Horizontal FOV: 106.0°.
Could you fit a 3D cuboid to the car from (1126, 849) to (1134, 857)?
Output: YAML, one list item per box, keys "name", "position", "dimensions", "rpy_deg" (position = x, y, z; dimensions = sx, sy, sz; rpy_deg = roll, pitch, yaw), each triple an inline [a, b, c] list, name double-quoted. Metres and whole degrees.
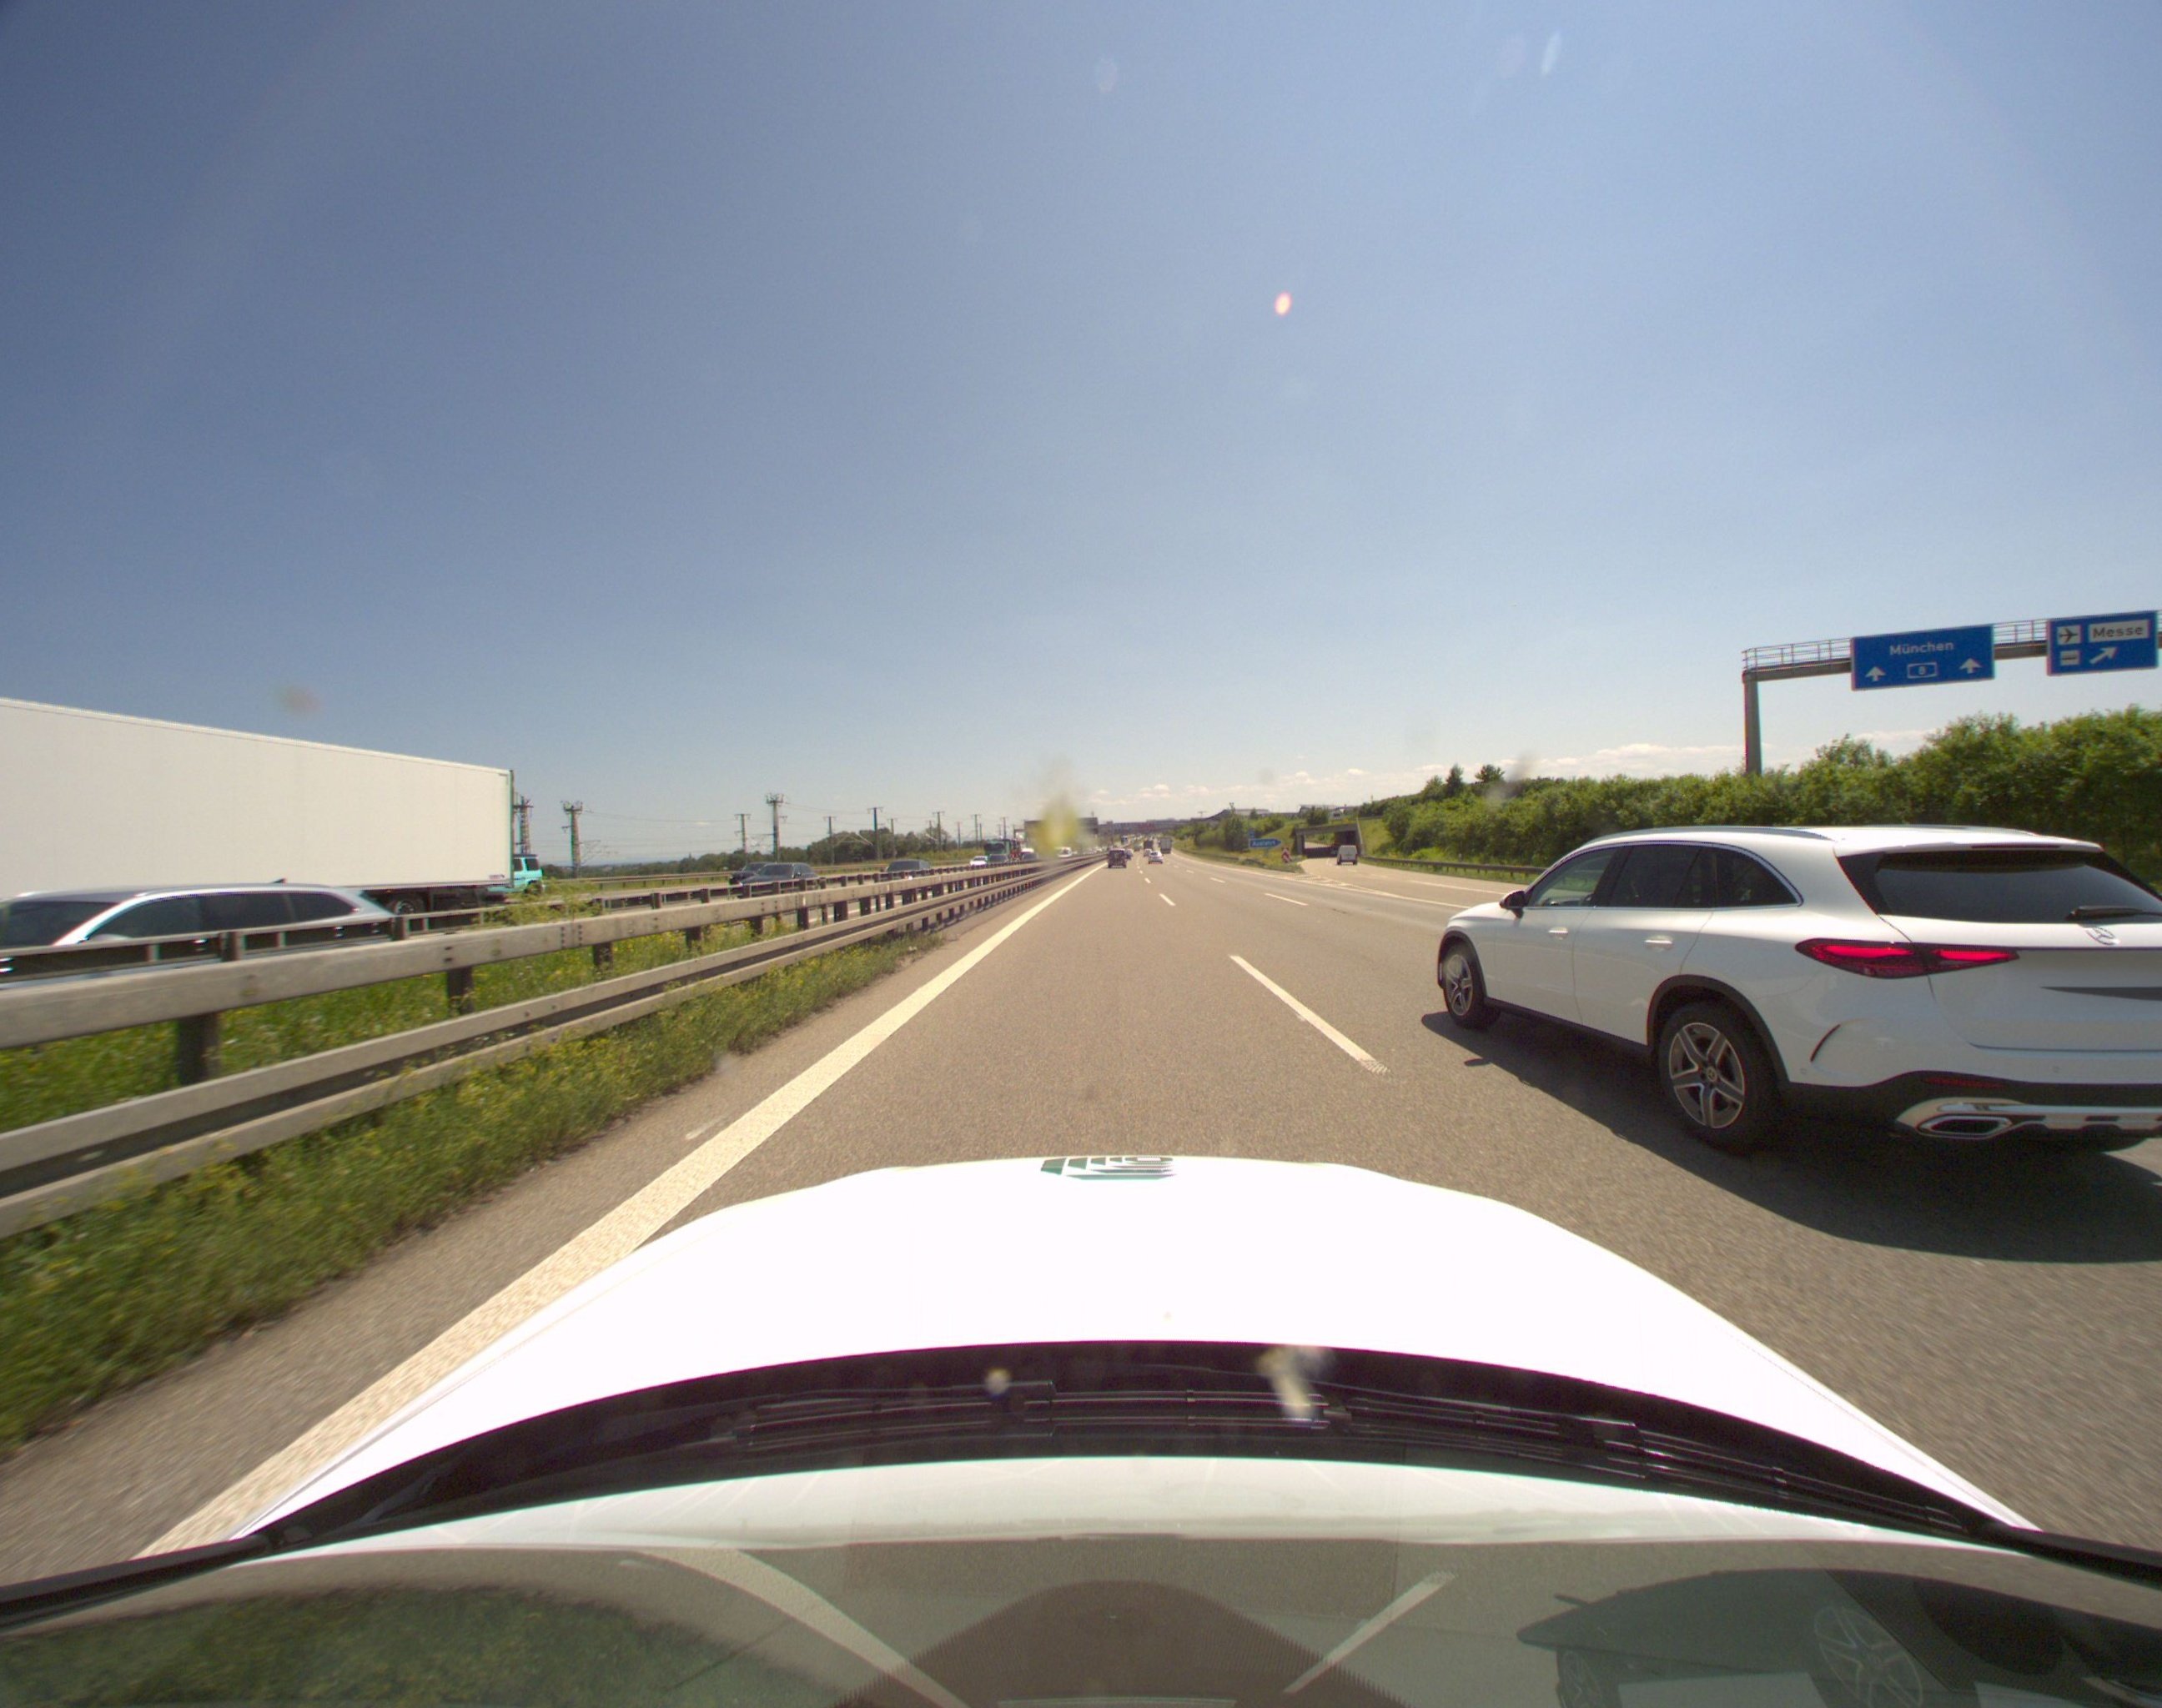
- name: "car"
  position: [9.942, -0.108, 165.578]
  dimensions: [1.568, 1.552, 3.969]
  rpy_deg: [-1, -1, 5]

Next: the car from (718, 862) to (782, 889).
- name: "car"
  position: [-18.865, 1.196, 46.618]
  dimensions: [1.689, 1.425, 4.457]
  rpy_deg: [-1, 0, 2]

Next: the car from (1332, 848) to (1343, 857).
- name: "car"
  position: [49.786, -0.237, 157.938]
  dimensions: [1.978, 1.750, 4.017]
  rpy_deg: [-1, -1, 16]

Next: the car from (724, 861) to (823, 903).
- name: "car"
  position: [-12.082, 1.051, 32.362]
  dimensions: [1.834, 1.460, 4.999]
  rpy_deg: [-1, 0, 2]

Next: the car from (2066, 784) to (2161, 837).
- name: "car"
  position: [35.319, -1.427, 26.645]
  dimensions: [1.688, 1.575, 4.141]
  rpy_deg: [-1, -1, 11]

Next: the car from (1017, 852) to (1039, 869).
- name: "car"
  position: [-5.513, 0.650, 85.325]
  dimensions: [1.749, 1.741, 4.724]
  rpy_deg: [-1, 0, 2]

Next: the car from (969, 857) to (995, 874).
- name: "car"
  position: [-9.668, 1.100, 79.739]
  dimensions: [1.749, 1.481, 4.636]
  rpy_deg: [-1, 0, 2]

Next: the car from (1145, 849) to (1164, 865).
- name: "car"
  position: [8.855, 0.370, 98.332]
  dimensions: [1.919, 1.919, 4.519]
  rpy_deg: [-1, -1, 1]

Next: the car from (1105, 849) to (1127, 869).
- name: "car"
  position: [3.417, 0.508, 78.722]
  dimensions: [1.918, 1.919, 4.953]
  rpy_deg: [-1, -1, 4]

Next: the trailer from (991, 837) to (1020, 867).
- name: "trailer"
  position: [-11.244, -0.264, 122.272]
  dimensions: [2.748, 4.245, 11.206]
  rpy_deg: [-1, -1, 2]

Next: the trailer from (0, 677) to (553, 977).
- name: "trailer"
  position: [-16.397, -0.295, 16.690]
  dimensions: [3.209, 4.193, 11.418]
  rpy_deg: [-1, -1, 3]

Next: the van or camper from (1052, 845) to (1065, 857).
- name: "van or camper"
  position: [-5.335, -0.695, 193.921]
  dimensions: [2.506, 2.665, 8.071]
  rpy_deg: [-1, 0, 3]

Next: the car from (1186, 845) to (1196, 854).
- name: "car"
  position: [25.445, -0.943, 188.479]
  dimensions: [1.919, 1.919, 4.519]
  rpy_deg: [-1, -1, 1]

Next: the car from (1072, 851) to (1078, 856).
- name: "car"
  position: [-1.858, -0.161, 258.983]
  dimensions: [1.758, 1.347, 4.004]
  rpy_deg: [-1, 0, 3]

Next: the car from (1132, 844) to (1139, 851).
- name: "car"
  position: [16.990, -1.976, 253.754]
  dimensions: [2.178, 2.002, 4.003]
  rpy_deg: [-1, 3, 2]

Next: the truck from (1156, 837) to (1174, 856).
- name: "truck"
  position: [20.878, -1.906, 202.659]
  dimensions: [4.022, 4.261, 11.769]
  rpy_deg: [-1, 2, 3]

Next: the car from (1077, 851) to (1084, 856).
- name: "car"
  position: [-0.108, -0.073, 207.021]
  dimensions: [1.686, 1.347, 4.004]
  rpy_deg: [-1, 0, 3]

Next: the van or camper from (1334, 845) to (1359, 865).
- name: "van or camper"
  position: [27.907, 0.093, 85.619]
  dimensions: [2.141, 2.014, 4.320]
  rpy_deg: [-1, -1, 13]

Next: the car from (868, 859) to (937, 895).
- name: "car"
  position: [-7.951, 0.983, 36.806]
  dimensions: [1.834, 1.460, 4.999]
  rpy_deg: [-1, 0, 2]

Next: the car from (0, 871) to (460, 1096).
- name: "car"
  position: [-8.921, 1.029, 7.813]
  dimensions: [1.725, 1.588, 5.356]
  rpy_deg: [-1, 0, 1]

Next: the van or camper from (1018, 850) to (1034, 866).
- name: "van or camper"
  position: [-7.631, 0.527, 113.043]
  dimensions: [1.749, 2.221, 4.944]
  rpy_deg: [-1, 0, 2]

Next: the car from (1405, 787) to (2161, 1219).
- name: "car"
  position: [4.091, 0.605, 5.631]
  dimensions: [1.890, 1.647, 5.001]
  rpy_deg: [-1, -1, 3]

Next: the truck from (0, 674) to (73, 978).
- name: "truck"
  position: [-16.806, -0.355, 8.290]
  dimensions: [3.234, 4.209, 7.700]
  rpy_deg: [-1, 0, 4]

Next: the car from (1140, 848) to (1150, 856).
- name: "car"
  position: [12.715, -0.339, 161.567]
  dimensions: [1.973, 1.473, 4.003]
  rpy_deg: [-2, -1, 3]

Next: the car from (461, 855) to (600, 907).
- name: "car"
  position: [-22.352, 1.038, 33.382]
  dimensions: [2.008, 1.914, 5.164]
  rpy_deg: [-1, 0, 2]

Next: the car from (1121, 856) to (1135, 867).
- name: "car"
  position: [7.394, 1.231, 127.960]
  dimensions: [1.917, 1.627, 4.523]
  rpy_deg: [-1, -1, 5]

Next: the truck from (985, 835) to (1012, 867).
- name: "truck"
  position: [-11.527, -0.370, 113.905]
  dimensions: [2.748, 4.245, 6.981]
  rpy_deg: [-1, -1, 2]

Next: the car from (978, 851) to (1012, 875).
- name: "car"
  position: [-6.525, 0.661, 62.158]
  dimensions: [1.748, 1.669, 4.703]
  rpy_deg: [-1, 0, 4]

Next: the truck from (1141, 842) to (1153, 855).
- name: "truck"
  position: [17.134, -1.295, 212.020]
  dimensions: [2.691, 3.109, 10.668]
  rpy_deg: [-1, -1, 3]
